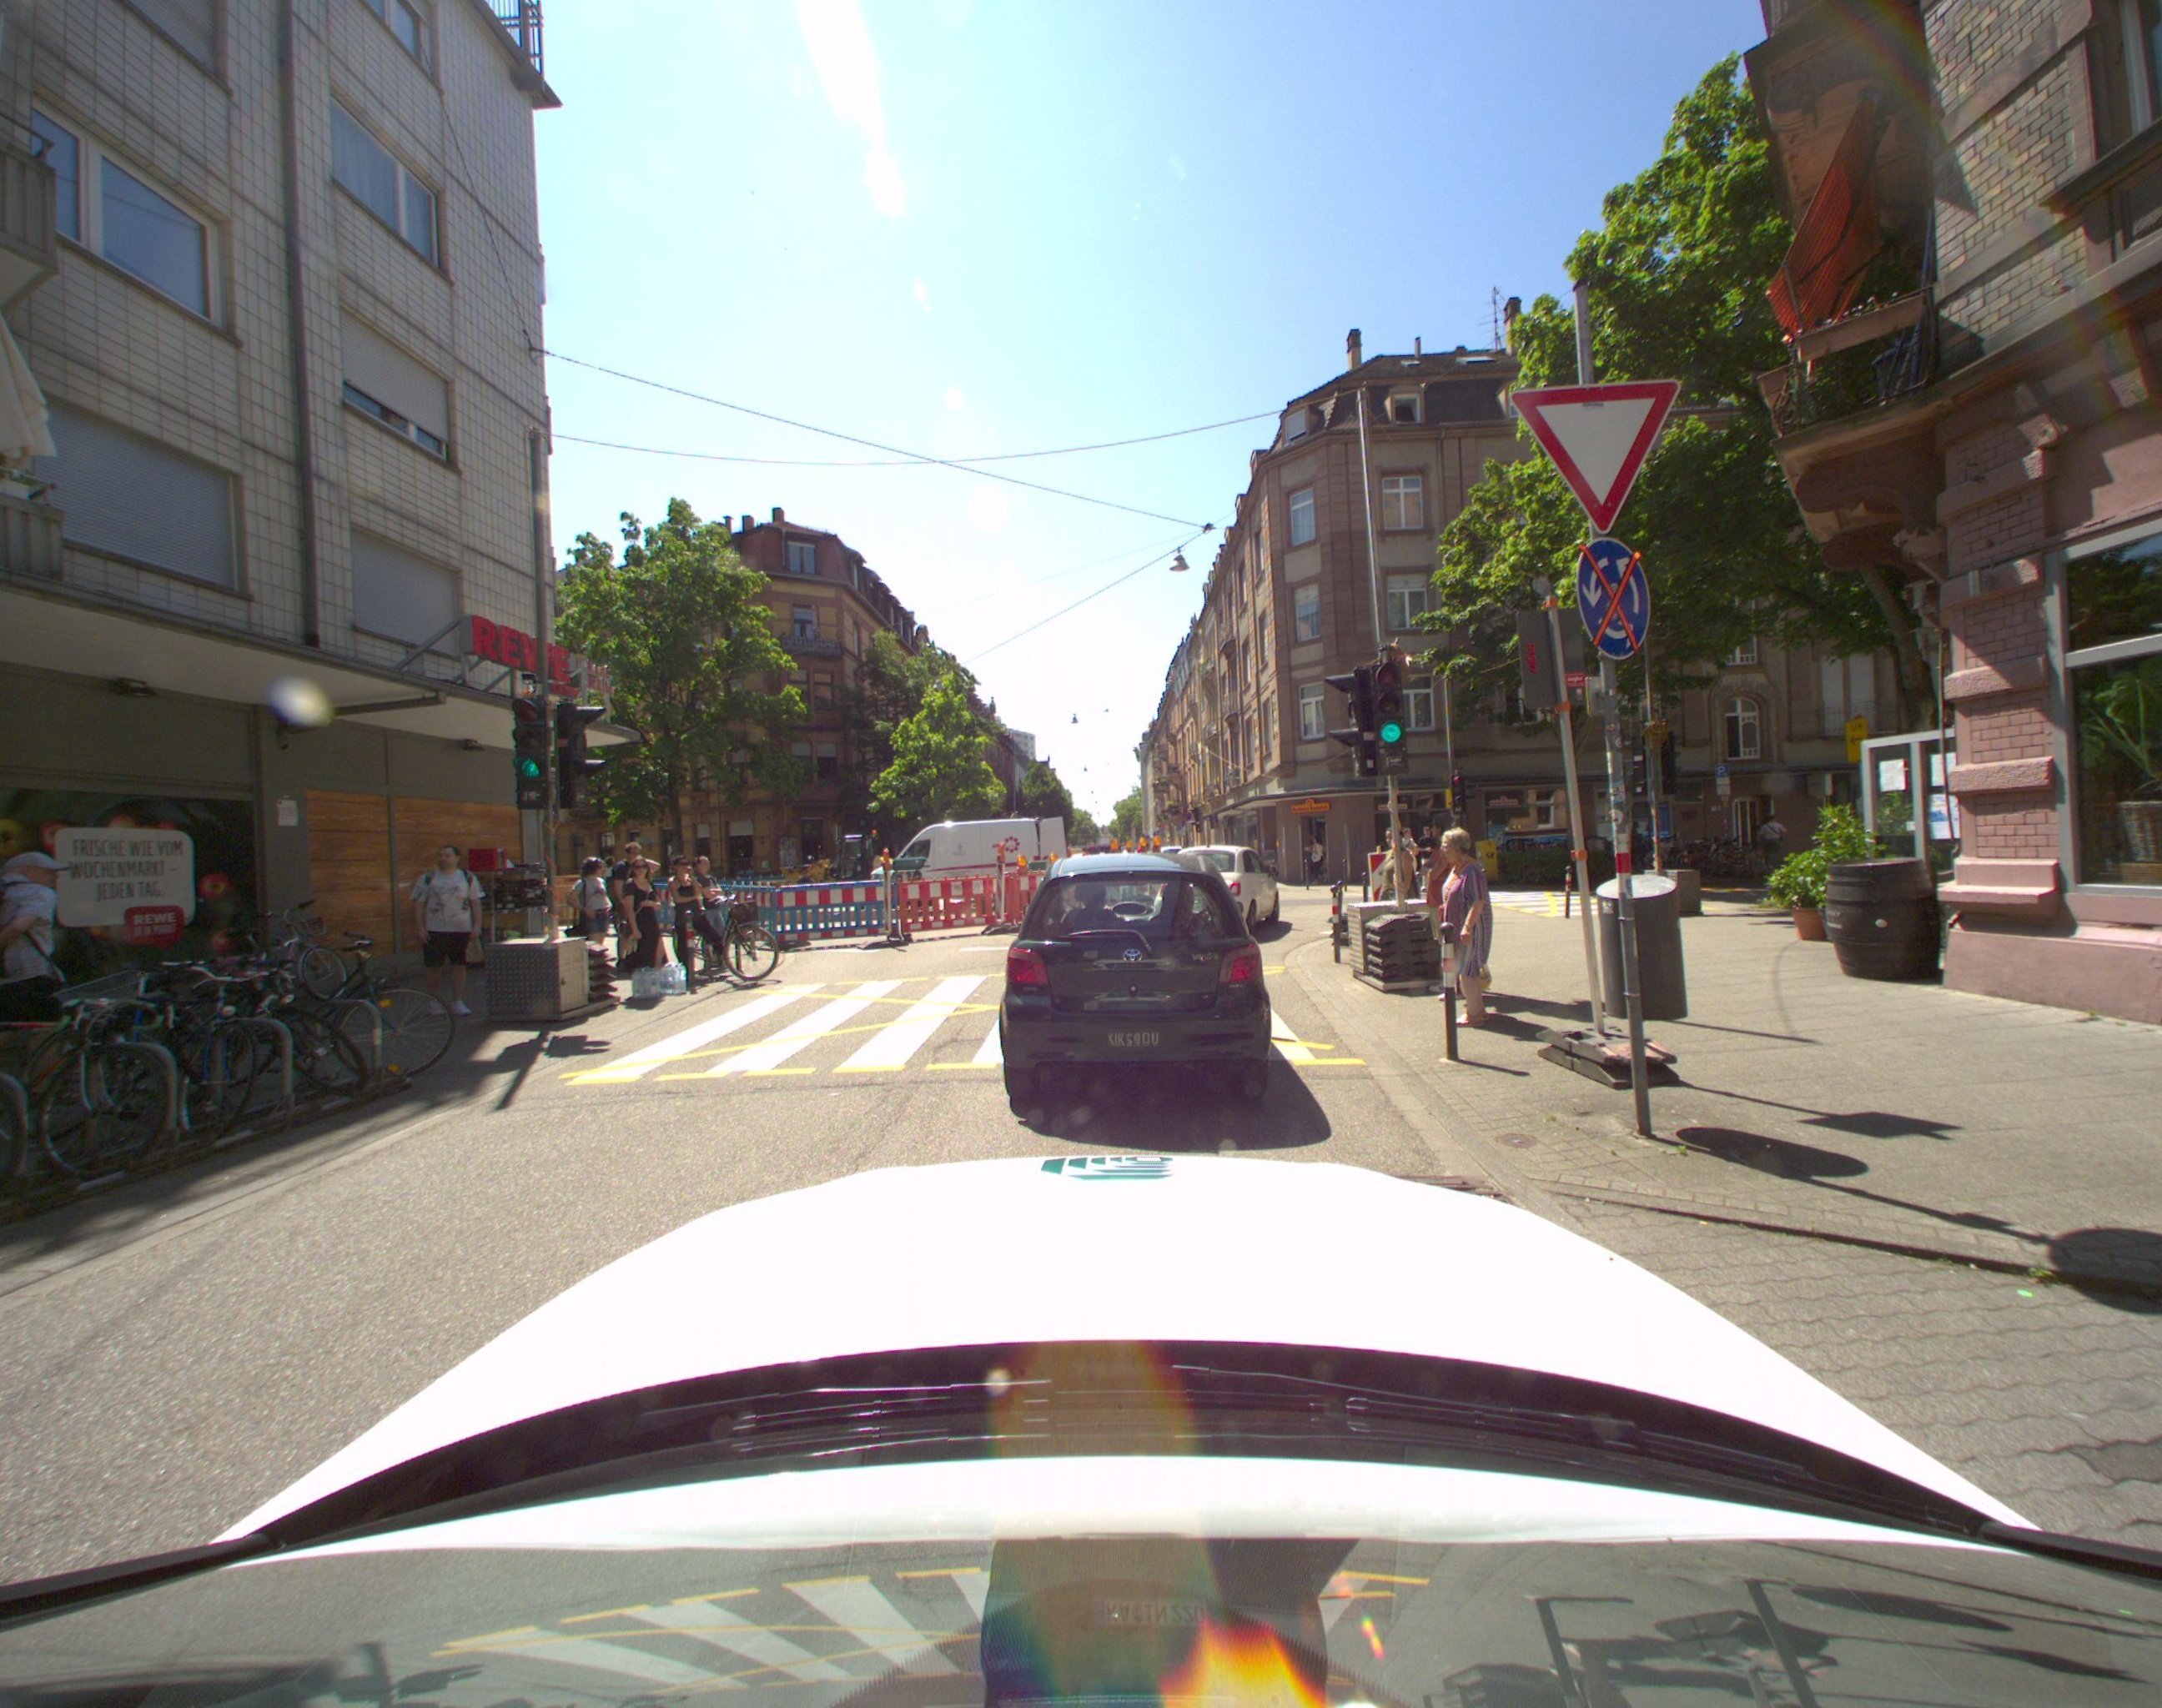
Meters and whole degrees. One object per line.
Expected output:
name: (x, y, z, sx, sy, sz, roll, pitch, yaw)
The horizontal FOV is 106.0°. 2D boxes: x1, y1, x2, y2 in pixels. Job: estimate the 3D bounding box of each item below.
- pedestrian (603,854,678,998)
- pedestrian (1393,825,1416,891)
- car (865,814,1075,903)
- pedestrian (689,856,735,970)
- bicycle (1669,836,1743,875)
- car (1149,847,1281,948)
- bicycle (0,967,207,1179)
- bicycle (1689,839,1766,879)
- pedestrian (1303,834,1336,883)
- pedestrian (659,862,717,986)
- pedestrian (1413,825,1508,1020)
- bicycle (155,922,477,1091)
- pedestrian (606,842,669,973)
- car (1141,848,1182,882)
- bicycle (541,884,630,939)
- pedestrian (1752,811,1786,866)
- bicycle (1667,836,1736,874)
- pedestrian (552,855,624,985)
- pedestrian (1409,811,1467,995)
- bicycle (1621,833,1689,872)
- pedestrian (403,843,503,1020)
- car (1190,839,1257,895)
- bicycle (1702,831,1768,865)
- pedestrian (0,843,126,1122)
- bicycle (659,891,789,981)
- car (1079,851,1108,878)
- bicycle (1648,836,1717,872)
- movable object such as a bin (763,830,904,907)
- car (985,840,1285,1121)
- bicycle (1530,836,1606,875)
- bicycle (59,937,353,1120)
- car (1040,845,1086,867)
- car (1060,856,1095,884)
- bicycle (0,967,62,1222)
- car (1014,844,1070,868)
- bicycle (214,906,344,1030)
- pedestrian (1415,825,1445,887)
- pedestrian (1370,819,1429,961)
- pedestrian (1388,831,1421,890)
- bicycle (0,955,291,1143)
pedestrian: (-5.199, 0.831, 9.628, 0.539, 1.633, 0.511, -3, 0, -1)
pedestrian: (8.824, 0.106, 22.227, 0.473, 1.732, 0.876, -3, -1, 21)
car: (-3.592, 0.166, 27.364, 6.594, 2.751, 2.381, -1, 0, 2)
pedestrian: (-5.368, 0.839, 11.867, 0.388, 1.618, 0.475, -3, 0, -1)
bicycle: (17.641, 0.039, 22.983, 1.756, 0.996, 0.470, -3, 2, -3)
car: (2.466, 0.692, 14.407, 1.509, 1.521, 3.282, -3, 0, 23)
bicycle: (-5.713, 1.161, 4.396, 1.490, 1.030, 0.397, 0, 0, -3)
bicycle: (17.607, 0.129, 22.182, 1.756, 0.996, 0.470, -3, 2, -3)
pedestrian: (8.120, 0.143, 27.737, 0.793, 1.623, 0.647, -3, 0, 39)
pedestrian: (-5.166, 0.897, 10.717, 0.491, 1.565, 0.462, 0, 1, 28)
pedestrian: (3.152, 0.553, 6.796, 0.490, 1.543, 0.437, -5, -1, 7)
bicycle: (-5.712, 1.117, 6.155, 1.794, 1.123, 0.577, -1, 0, -5)
pedestrian: (-6.423, 0.752, 11.803, 0.507, 1.820, 0.599, -3, 0, -1)
car: (3.765, 0.476, 37.693, 1.618, 1.432, 3.669, -4, 0, 8)
bicycle: (-10.682, 1.232, 17.592, 1.573, 1.072, 0.341, -3, 0, -16)
pedestrian: (20.792, -0.474, 24.611, 0.488, 1.614, 0.560, -3, 0, 6)
bicycle: (17.948, 0.015, 23.573, 1.679, 1.005, 0.470, -3, 2, -3)
pedestrian: (-6.441, 0.838, 10.655, 0.507, 1.633, 0.599, -3, 0, -1)
pedestrian: (3.342, 0.450, 7.648, 0.330, 1.675, 0.402, -3, 0, 8)
bicycle: (17.531, -0.056, 24.876, 1.756, 1.080, 0.470, -3, 2, -3)
pedestrian: (-6.560, 0.781, 8.534, 0.507, 1.770, 0.599, -3, 0, -1)
car: (4.451, 0.373, 25.809, 1.517, 1.592, 3.264, -3, 0, 1)
bicycle: (20.946, -0.185, 26.092, 1.756, 0.996, 0.470, -3, 2, -3)
pedestrian: (-7.034, 0.810, 5.368, 0.628, 1.726, 0.658, -3, 0, 1)
bicycle: (-4.794, 1.067, 10.912, 1.789, 1.119, 0.470, -1, 0, 23)
car: (0.902, 0.694, 56.788, 1.748, 1.645, 4.380, -6, 0, 2)
bicycle: (17.957, -0.004, 24.327, 1.756, 0.996, 0.470, -3, 2, -3)
movable object such as a bin: (-9.005, 0.523, 29.904, 4.529, 2.659, 1.954, -1, 0, -1)
car: (0.437, 0.683, 6.107, 1.606, 1.485, 3.246, -2, 1, 5)
bicycle: (15.442, 0.053, 25.861, 1.964, 1.132, 0.519, -3, 0, 19)
bicycle: (-5.769, 1.132, 5.401, 1.515, 1.117, 0.335, 0, 0, -3)
car: (-1.988, 0.260, 89.191, 4.581, 2.187, 1.983, -2, 0, -26)
car: (-0.166, 0.920, 47.134, 1.748, 1.444, 4.002, -3, 0, 2)
bicycle: (-5.746, 1.124, 3.664, 1.580, 1.139, 0.526, 0, 0, -3)
car: (-3.641, 0.203, 76.842, 4.800, 1.994, 2.035, -2, 0, -27)
bicycle: (-8.423, 1.149, 8.616, 0.321, 1.086, 1.424, -2, 1, -17)
pedestrian: (10.223, 0.049, 23.886, 0.574, 1.768, 0.470, -5, 3, -7)
pedestrian: (3.615, 0.403, 9.277, 0.457, 1.560, 0.480, -3, 0, 7)
pedestrian: (9.445, 0.181, 23.751, 0.701, 1.645, 0.422, -5, 3, -7)
bicycle: (-5.699, 1.159, 4.929, 1.444, 1.036, 0.335, 0, 0, -3)
